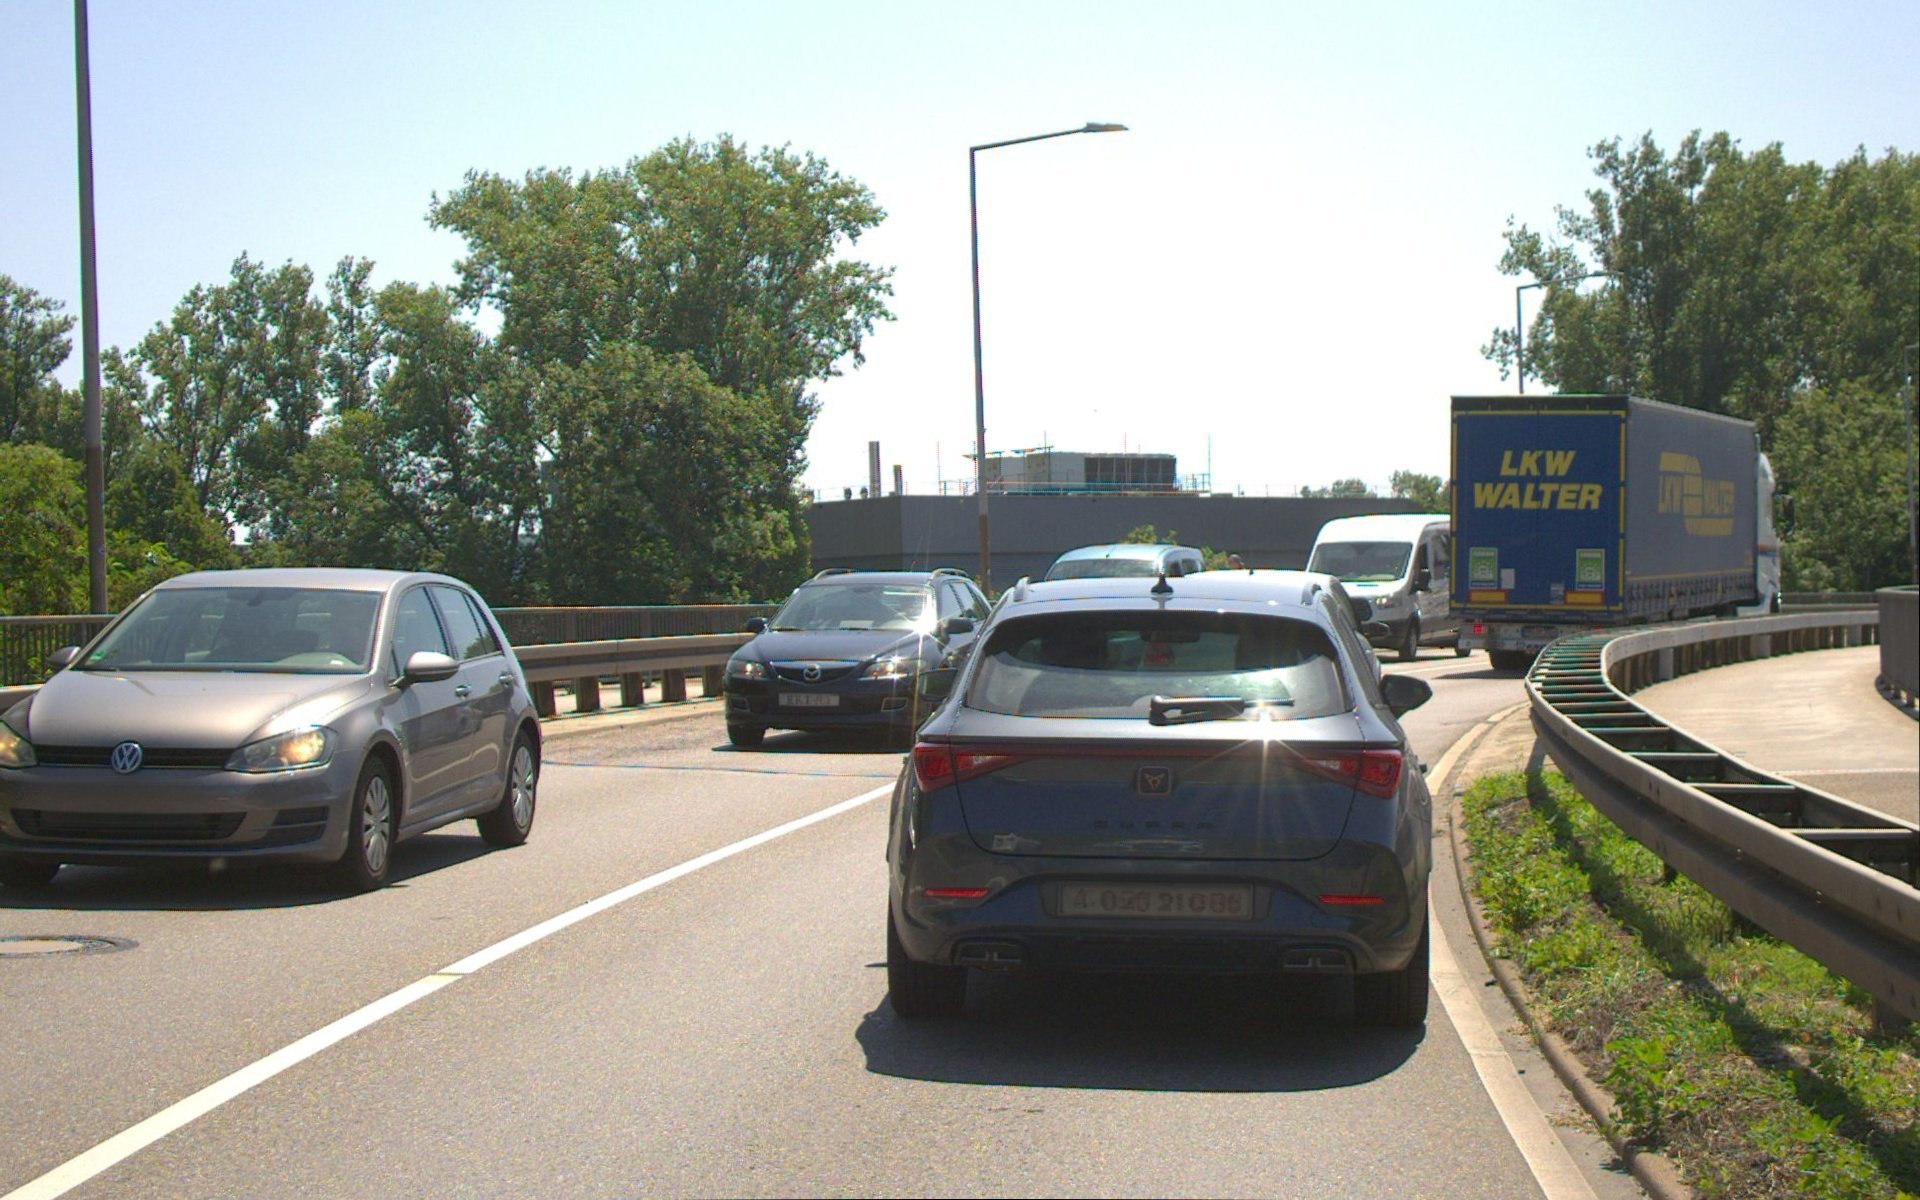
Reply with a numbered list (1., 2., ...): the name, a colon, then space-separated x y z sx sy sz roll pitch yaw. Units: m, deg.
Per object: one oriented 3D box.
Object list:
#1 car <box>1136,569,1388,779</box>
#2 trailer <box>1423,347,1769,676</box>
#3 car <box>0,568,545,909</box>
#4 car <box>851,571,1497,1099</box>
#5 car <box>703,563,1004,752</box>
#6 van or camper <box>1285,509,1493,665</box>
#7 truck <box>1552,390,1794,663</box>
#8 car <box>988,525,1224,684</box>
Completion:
1. car: 2.380 0.529 26.458 1.594 1.456 3.543 2 0 10
2. trailer: 10.431 -1.238 54.869 3.137 4.598 12.934 2 0 20
3. car: -3.284 0.565 16.611 1.716 1.423 4.106 0 1 5
4. car: 0.683 0.663 11.840 1.845 1.493 3.758 1 1 2
5. car: -0.810 0.440 29.082 1.757 1.437 4.566 1 0 8
6. van or camper: 7.427 -0.252 58.991 2.050 2.529 5.877 -1 1 22
7. truck: 12.896 -1.217 61.684 3.173 4.569 7.389 1 0 19
8. car: 1.883 0.052 42.983 1.758 1.849 4.271 1 0 19
